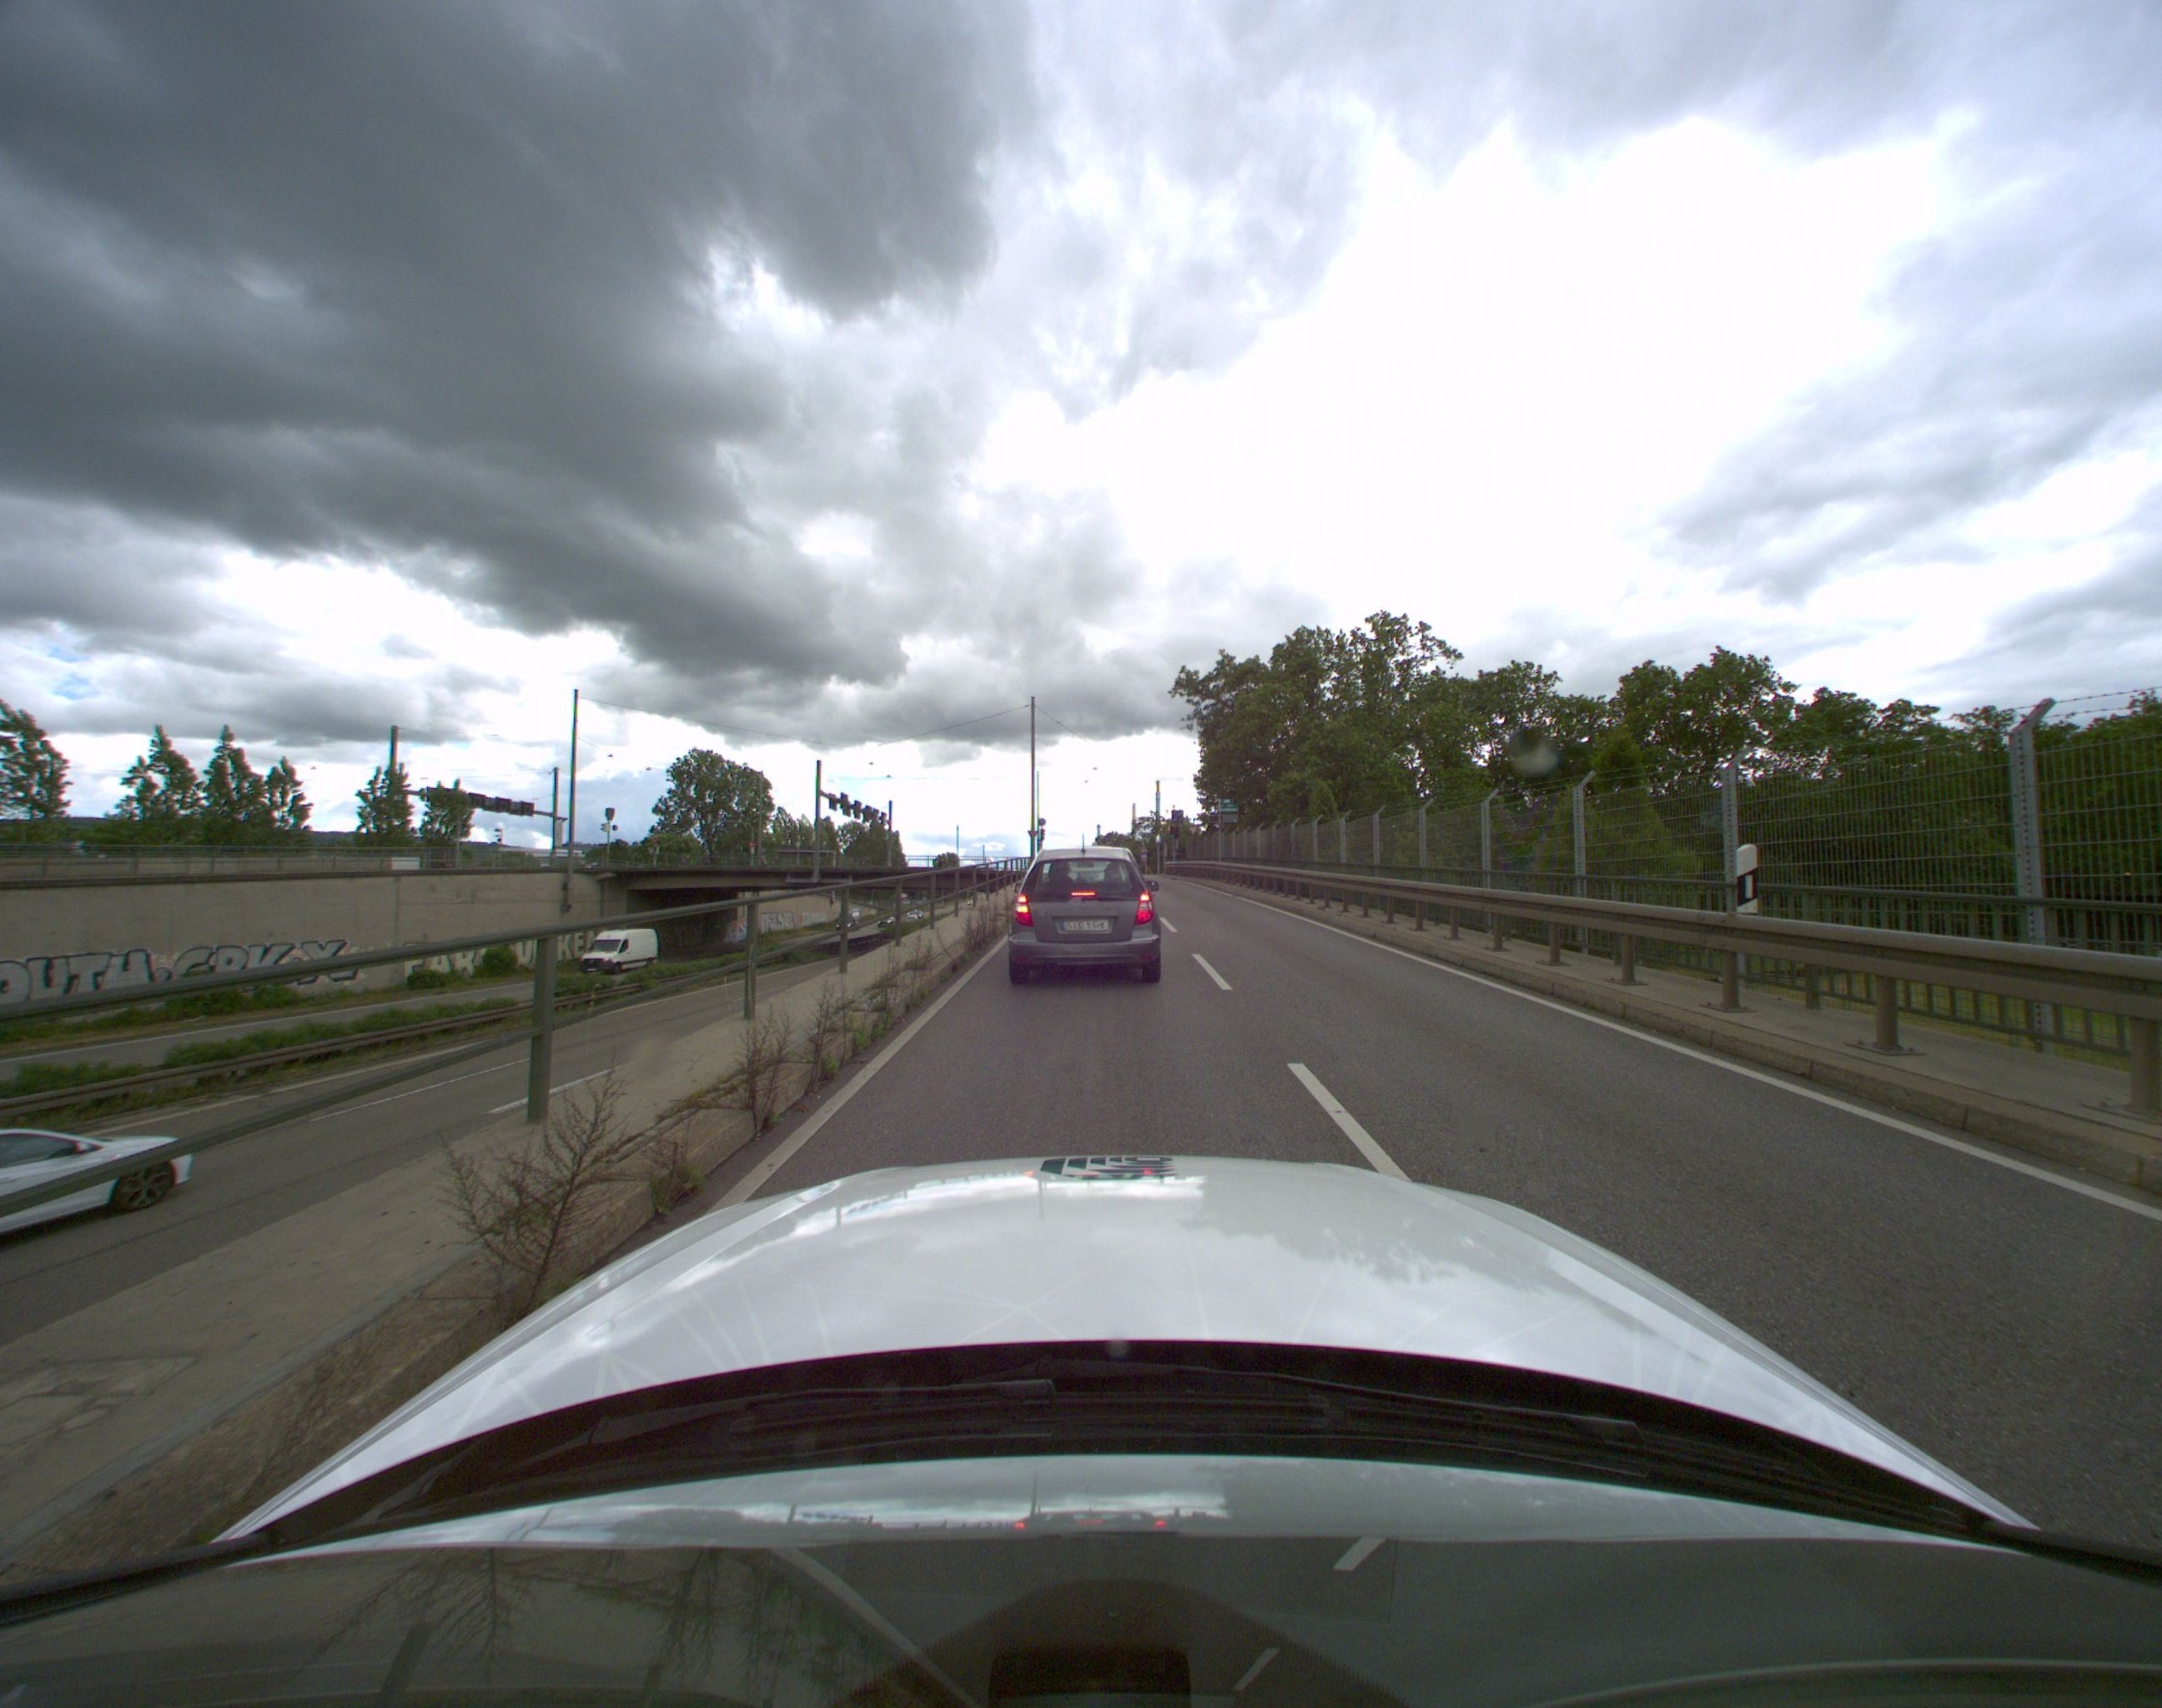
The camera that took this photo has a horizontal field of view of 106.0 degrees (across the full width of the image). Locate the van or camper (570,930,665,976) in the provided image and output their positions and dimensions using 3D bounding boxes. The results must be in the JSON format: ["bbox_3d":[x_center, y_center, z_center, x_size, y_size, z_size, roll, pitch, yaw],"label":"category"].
[{"bbox_3d":[-28.617,6.056,50.648,2.175,2.457,6.345,0,-3,0],"label":"van or camper"}]

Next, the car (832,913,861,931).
[{"bbox_3d":[-30.985,8.968,107.926,2.285,2.156,6.176,-1,-4,-2],"label":"car"}]

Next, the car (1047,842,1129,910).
[{"bbox_3d":[0.229,0.504,22.014,1.986,1.603,4.002,-1,1,1],"label":"car"}]

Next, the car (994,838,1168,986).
[{"bbox_3d":[0.202,0.632,10.813,1.740,1.580,4.094,-1,0,8],"label":"car"}]

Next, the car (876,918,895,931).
[{"bbox_3d":[-28.221,10.205,117.759,1.990,1.689,3.992,-1,-2,-5],"label":"car"}]

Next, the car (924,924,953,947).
[{"bbox_3d":[-12.456,7.094,71.298,1.674,1.736,3.999,-2,-3,2],"label":"car"}]

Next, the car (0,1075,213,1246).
[{"bbox_3d":[-13.487,3.830,9.675,1.846,1.500,4.003,-1,-3,4],"label":"car"}]
